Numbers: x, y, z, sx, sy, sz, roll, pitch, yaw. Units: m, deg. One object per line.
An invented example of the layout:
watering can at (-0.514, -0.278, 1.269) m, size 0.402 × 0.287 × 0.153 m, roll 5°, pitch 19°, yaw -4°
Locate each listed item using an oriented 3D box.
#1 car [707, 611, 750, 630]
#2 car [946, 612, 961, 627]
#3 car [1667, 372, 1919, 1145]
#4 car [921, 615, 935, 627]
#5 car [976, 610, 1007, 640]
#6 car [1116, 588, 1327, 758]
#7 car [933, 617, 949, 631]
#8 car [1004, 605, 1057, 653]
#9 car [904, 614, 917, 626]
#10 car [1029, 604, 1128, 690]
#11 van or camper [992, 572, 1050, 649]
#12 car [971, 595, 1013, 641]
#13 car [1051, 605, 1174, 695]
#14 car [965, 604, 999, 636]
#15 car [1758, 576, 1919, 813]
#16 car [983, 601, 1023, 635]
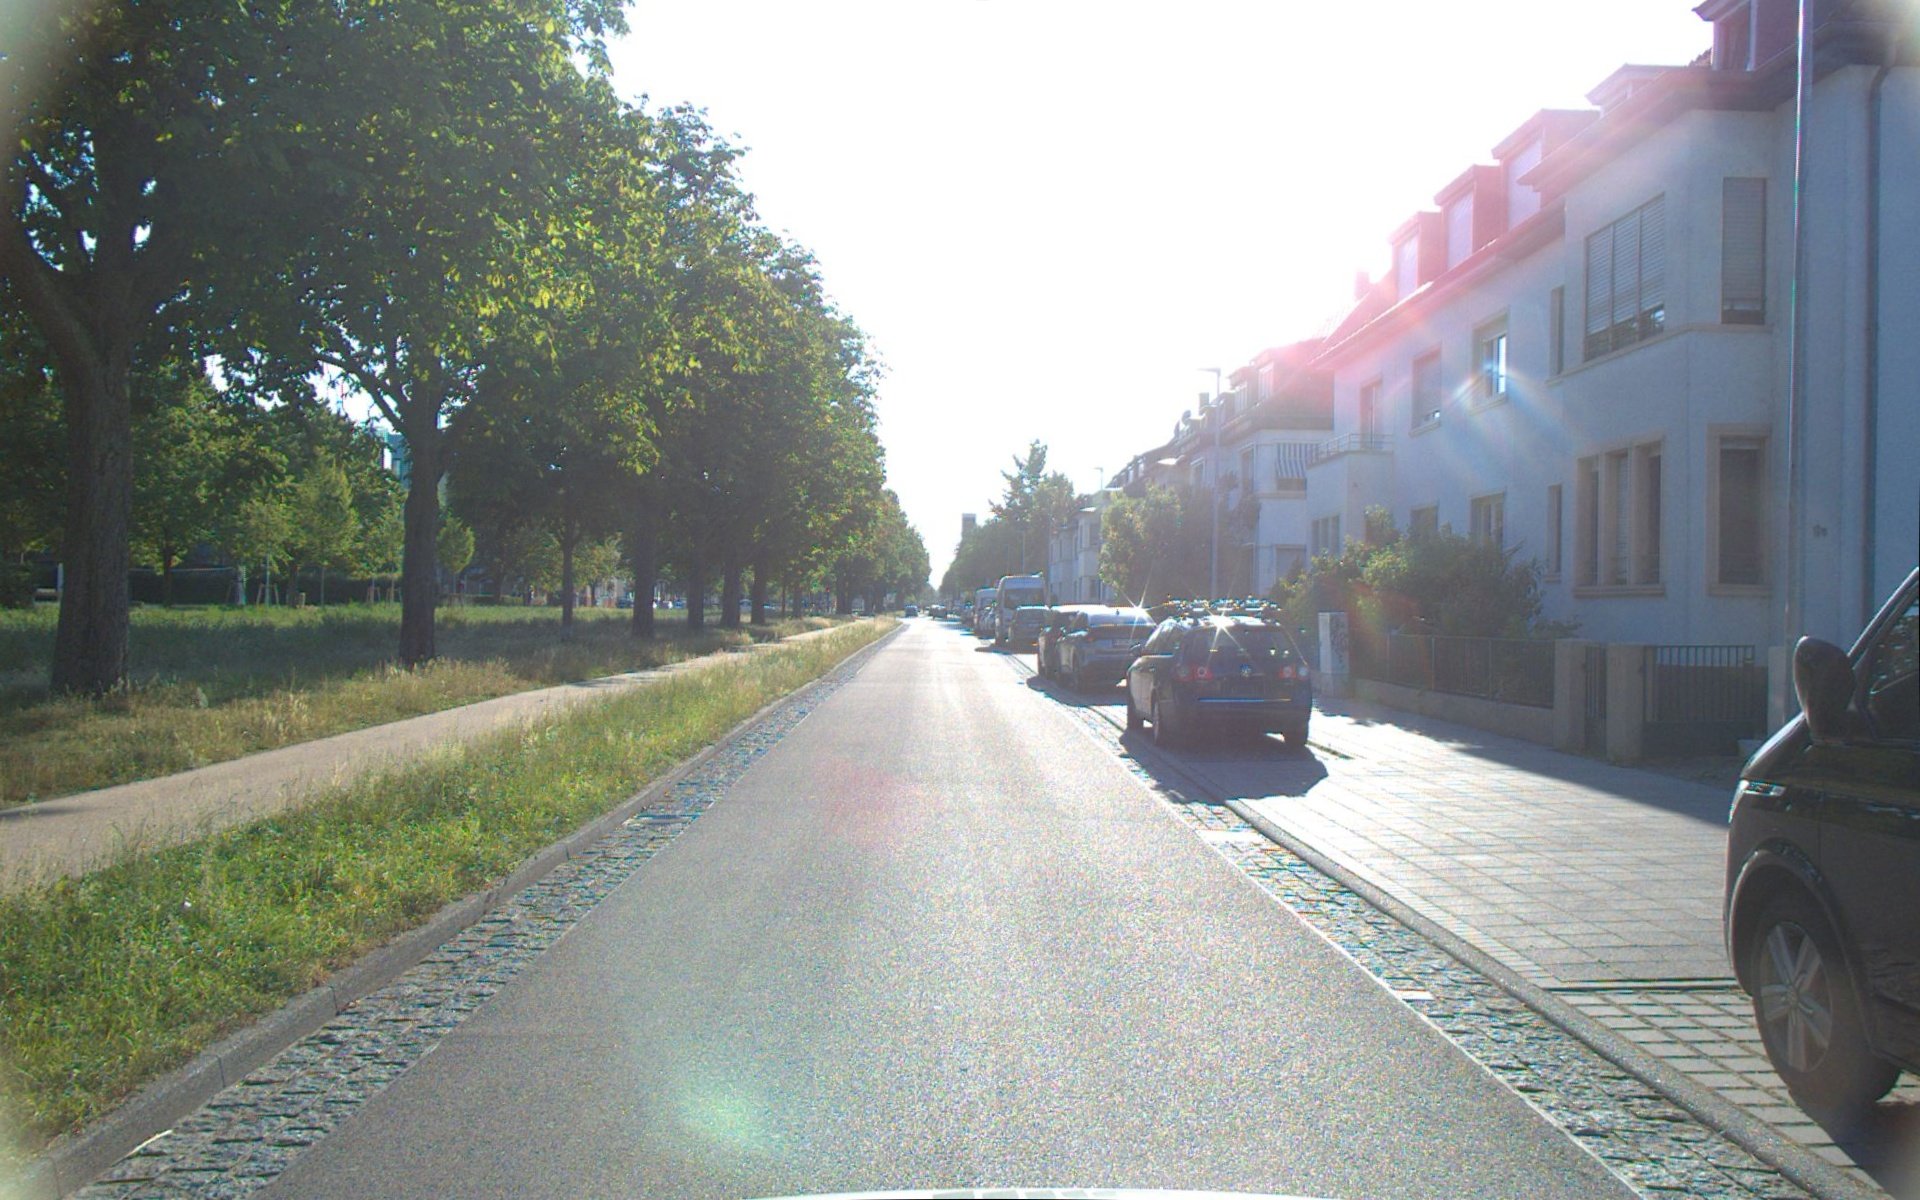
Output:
car at (-23.467, 2.073, 167.450) m, size 4.266 × 1.795 × 1.996 m, roll 3°, pitch -1°, yaw -9°
car at (-0.746, 2.149, 182.868) m, size 1.616 × 1.557 × 3.851 m, roll 0°, pitch 0°, yaw 0°
car at (3.618, 0.431, 3.839) m, size 1.867 × 2.169 × 4.814 m, roll -1°, pitch 0°, yaw 0°
car at (-4.510, 2.905, 231.735) m, size 1.825 × 1.625 × 3.868 m, roll 2°, pitch -1°, yaw -2°
car at (1.671, 1.317, 89.049) m, size 1.616 × 1.557 × 3.851 m, roll 0°, pitch 0°, yaw 0°
car at (3.037, 0.794, 20.097) m, size 1.757 × 1.802 × 4.471 m, roll -1°, pitch 0°, yaw -1°
car at (-2.329, 2.888, 201.293) m, size 1.825 × 1.625 × 3.892 m, roll 2°, pitch -1°, yaw -2°
car at (2.456, 1.020, 58.617) m, size 1.630 × 1.621 × 4.085 m, roll -1°, pitch -1°, yaw -1°
car at (-6.851, 2.813, 229.049) m, size 1.825 × 1.625 × 3.868 m, roll 2°, pitch -1°, yaw -2°
car at (2.611, 1.002, 37.440) m, size 1.795 × 1.714 × 4.414 m, roll 3°, pitch 0°, yaw -1°
van or camper at (2.357, 0.463, 65.131) m, size 1.904 × 2.826 × 5.938 m, roll 2°, pitch -1°, yaw -1°
car at (1.811, 1.014, 95.347) m, size 2.084 × 2.577 × 5.185 m, roll 0°, pitch 0°, yaw -3°
car at (2.854, 0.931, 31.775) m, size 1.684 × 1.601 × 4.206 m, roll 1°, pitch -1°, yaw -4°
car at (1.427, 1.312, 109.617) m, size 2.083 × 2.103 × 5.187 m, roll 0°, pitch 0°, yaw -1°
car at (8.941, 0.731, 13.365) m, size 4.134 × 1.756 × 1.851 m, roll 0°, pitch -1°, yaw -5°
car at (2.149, 0.882, 83.672) m, size 1.800 × 1.664 × 4.129 m, roll 0°, pitch 0°, yaw -2°
